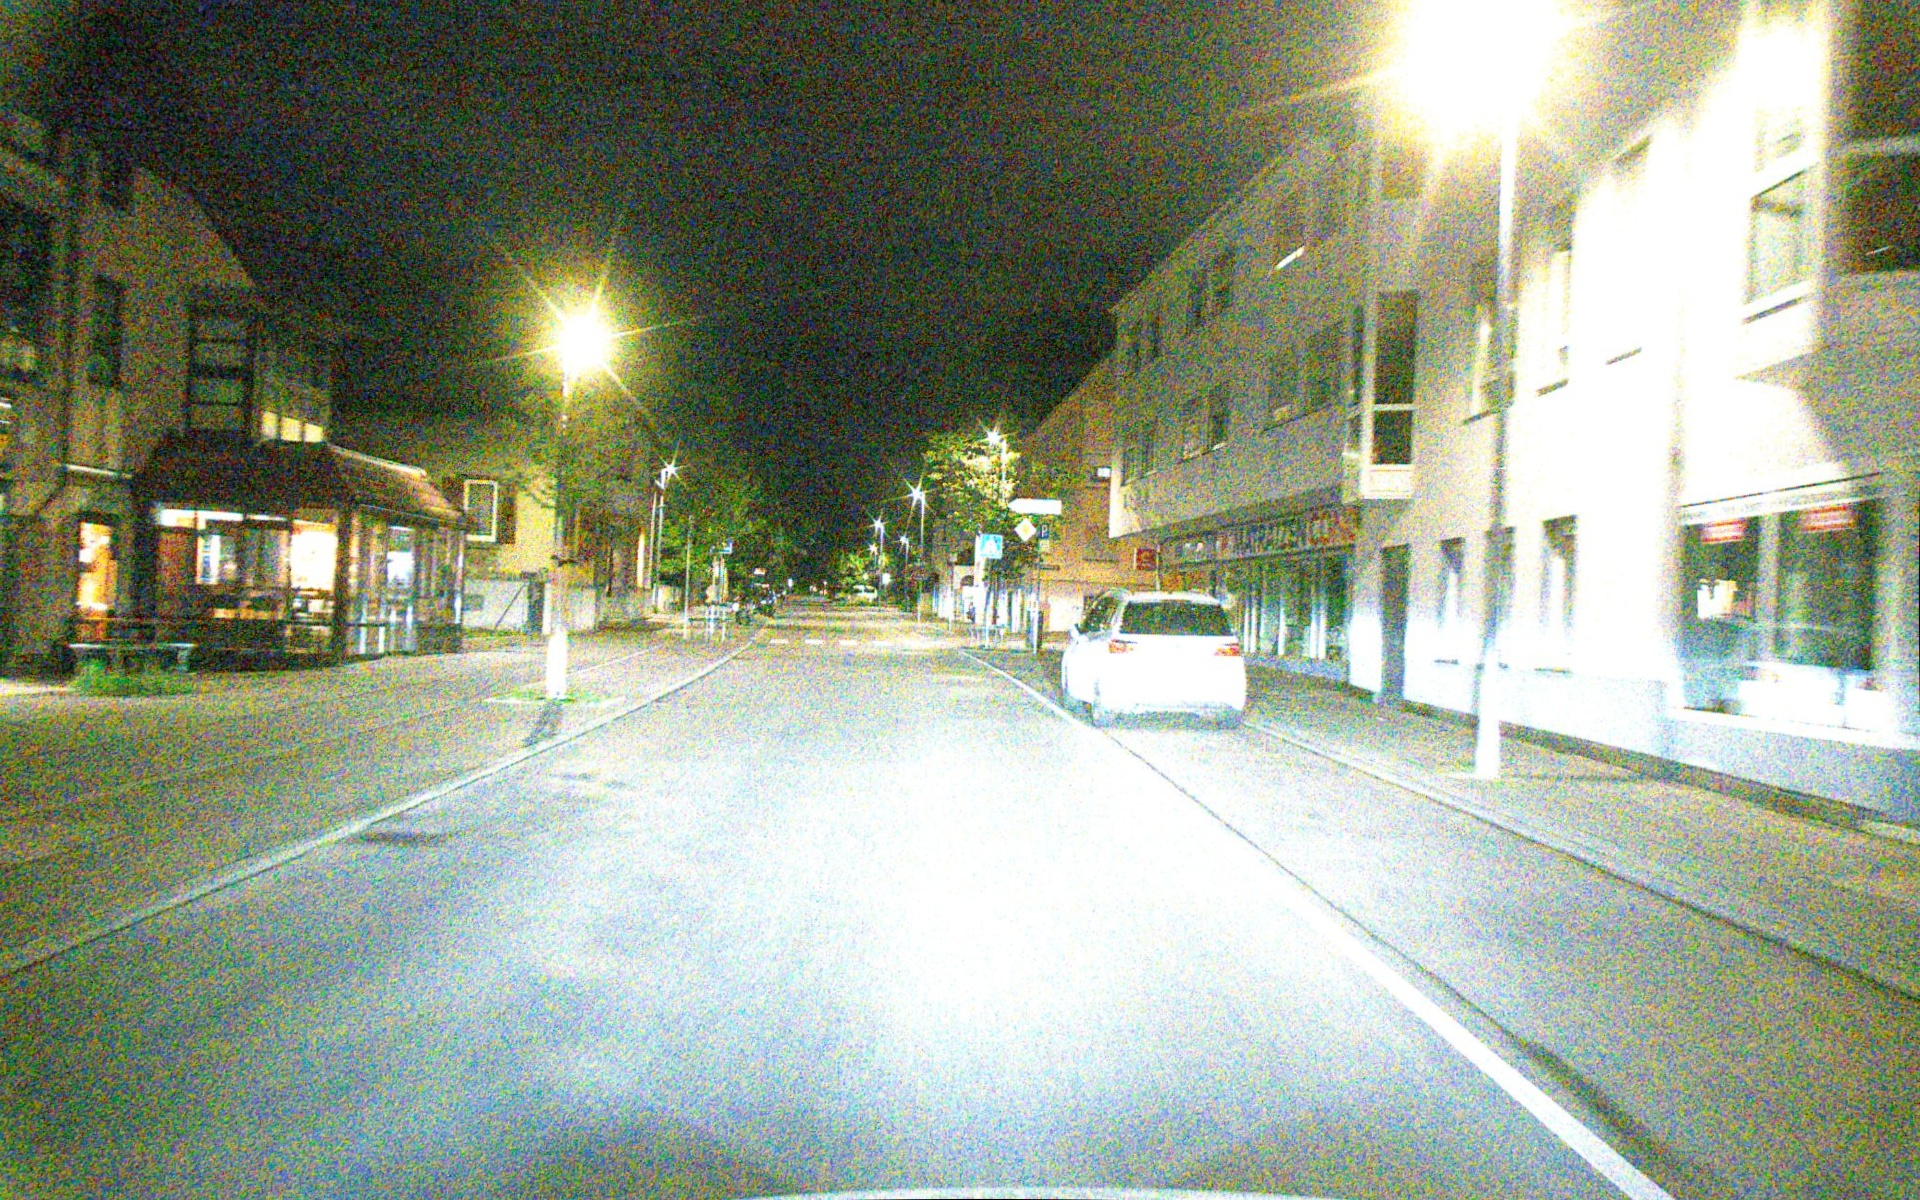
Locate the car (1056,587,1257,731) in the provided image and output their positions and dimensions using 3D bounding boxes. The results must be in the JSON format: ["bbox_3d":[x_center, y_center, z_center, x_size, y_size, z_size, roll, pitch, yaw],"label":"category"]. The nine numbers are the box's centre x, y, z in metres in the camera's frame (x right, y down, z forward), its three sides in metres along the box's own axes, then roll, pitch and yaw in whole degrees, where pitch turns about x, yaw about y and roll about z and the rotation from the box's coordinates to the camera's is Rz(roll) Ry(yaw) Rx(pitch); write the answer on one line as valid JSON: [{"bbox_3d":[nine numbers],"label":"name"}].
[{"bbox_3d":[2.317,0.650,20.532,1.708,1.596,4.205,1,0,-4],"label":"car"}]

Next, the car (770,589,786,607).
[{"bbox_3d":[-23.362,-0.227,212.067,1.790,2.021,4.457,3,-3,-7],"label":"car"}]

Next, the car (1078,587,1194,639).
[{"bbox_3d":[5.726,0.418,54.115,3.439,1.551,1.818,-2,0,-7],"label":"car"}]

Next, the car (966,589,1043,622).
[{"bbox_3d":[2.155,0.262,81.320,3.637,1.499,1.729,2,0,-3],"label":"car"}]

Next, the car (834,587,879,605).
[{"bbox_3d":[-11.857,-0.453,189.181,5.084,2.049,2.098,0,0,-8],"label":"car"}]

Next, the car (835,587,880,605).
[{"bbox_3d":[-11.902,-0.492,192.255,5.084,2.049,2.098,0,0,-8],"label":"car"}]

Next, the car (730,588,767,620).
[{"bbox_3d":[-10.642,0.187,83.570,1.655,1.537,4.274,1,0,-5],"label":"car"}]

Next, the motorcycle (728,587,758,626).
[{"bbox_3d":[-8.453,0.232,64.501,0.730,1.477,2.196,1,0,3],"label":"motorcycle"}]
